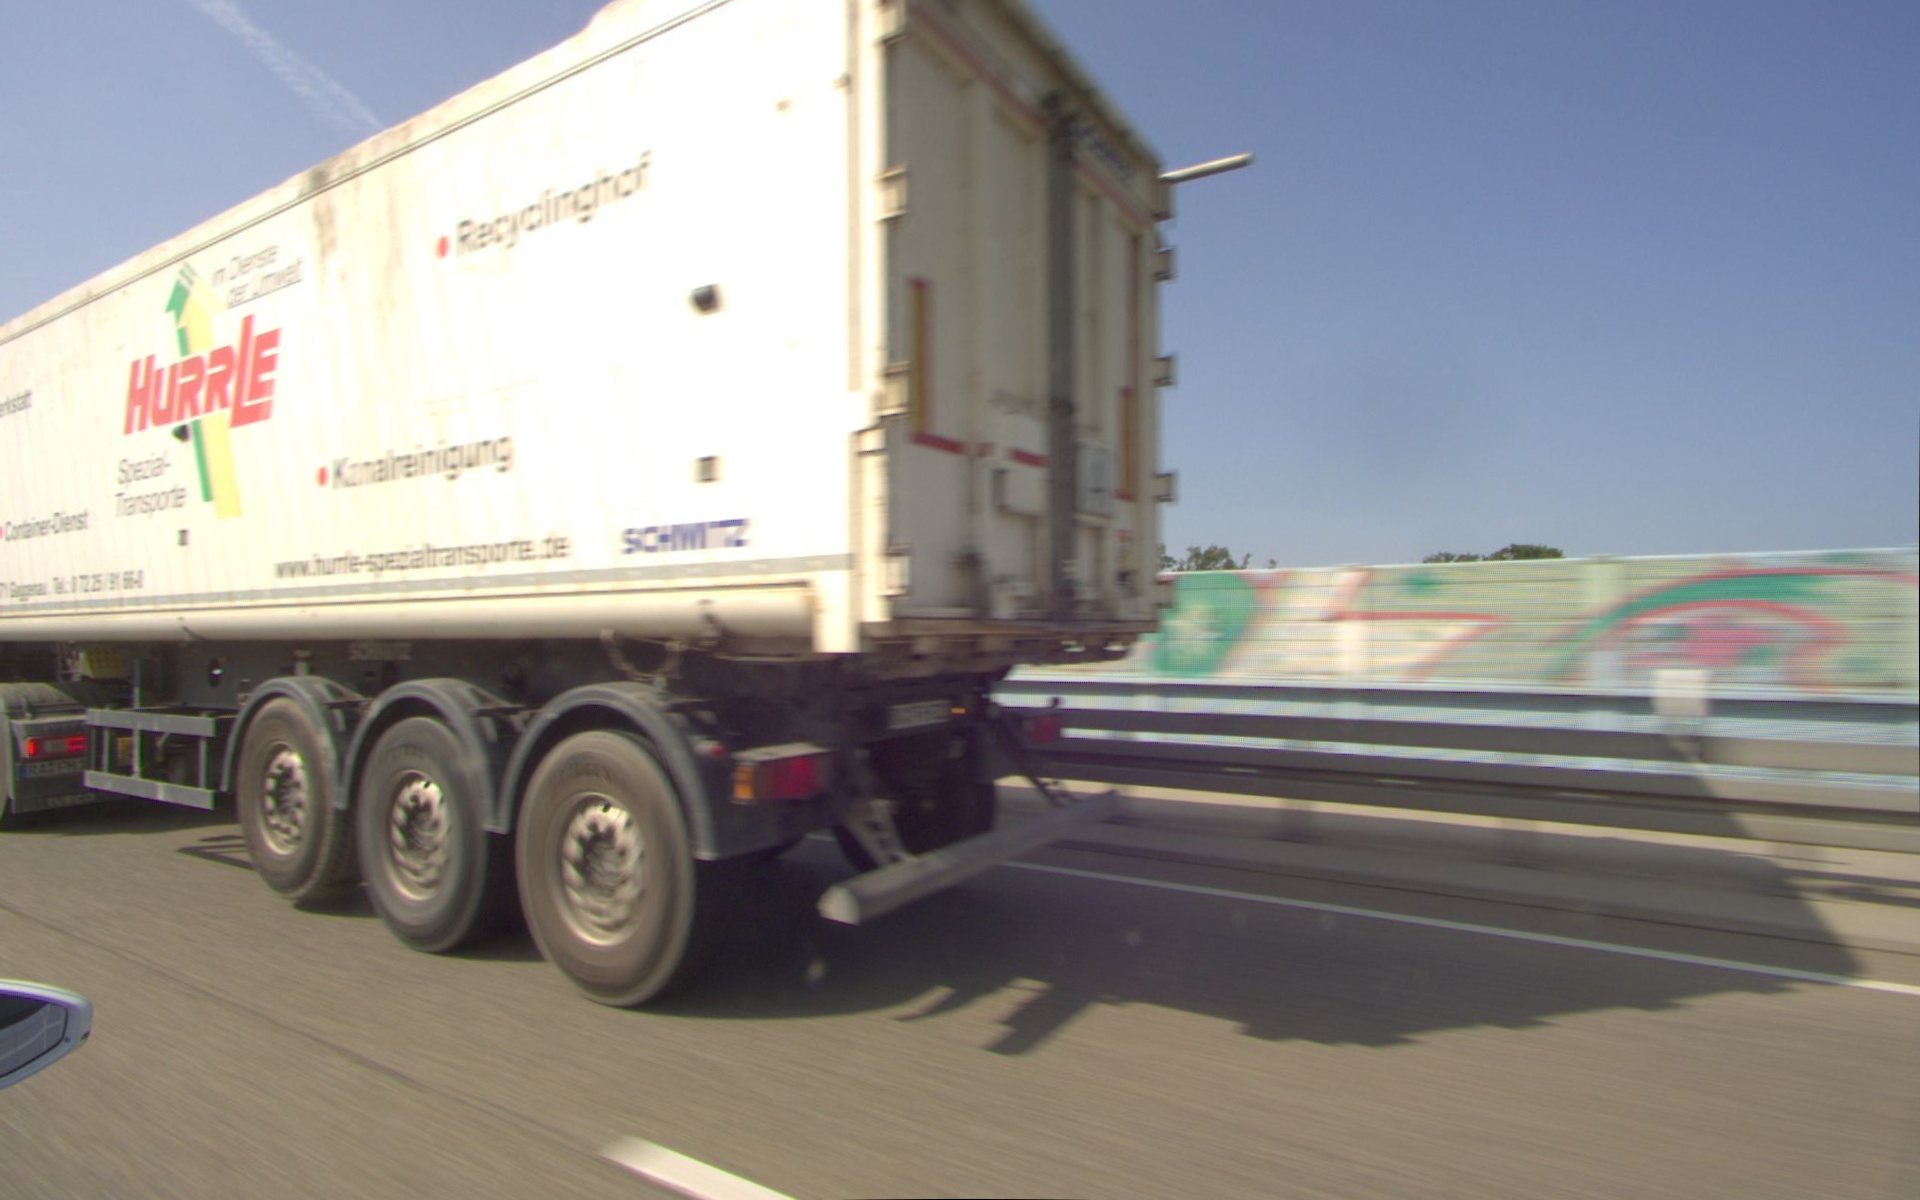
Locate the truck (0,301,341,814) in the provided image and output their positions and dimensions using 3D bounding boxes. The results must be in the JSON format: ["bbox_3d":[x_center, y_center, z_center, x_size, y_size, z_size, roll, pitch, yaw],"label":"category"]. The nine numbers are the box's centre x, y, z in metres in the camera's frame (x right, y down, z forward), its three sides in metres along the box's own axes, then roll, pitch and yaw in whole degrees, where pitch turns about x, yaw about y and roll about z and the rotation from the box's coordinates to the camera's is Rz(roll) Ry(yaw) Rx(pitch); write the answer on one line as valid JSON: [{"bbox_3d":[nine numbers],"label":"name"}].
[{"bbox_3d":[-9.134,-0.226,10.175,5.567,3.945,2.654,-1,-2,32],"label":"truck"}]

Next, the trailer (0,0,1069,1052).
[{"bbox_3d":[-4.119,-0.353,7.021,9.534,3.957,2.675,-1,-2,32],"label":"trailer"}]
